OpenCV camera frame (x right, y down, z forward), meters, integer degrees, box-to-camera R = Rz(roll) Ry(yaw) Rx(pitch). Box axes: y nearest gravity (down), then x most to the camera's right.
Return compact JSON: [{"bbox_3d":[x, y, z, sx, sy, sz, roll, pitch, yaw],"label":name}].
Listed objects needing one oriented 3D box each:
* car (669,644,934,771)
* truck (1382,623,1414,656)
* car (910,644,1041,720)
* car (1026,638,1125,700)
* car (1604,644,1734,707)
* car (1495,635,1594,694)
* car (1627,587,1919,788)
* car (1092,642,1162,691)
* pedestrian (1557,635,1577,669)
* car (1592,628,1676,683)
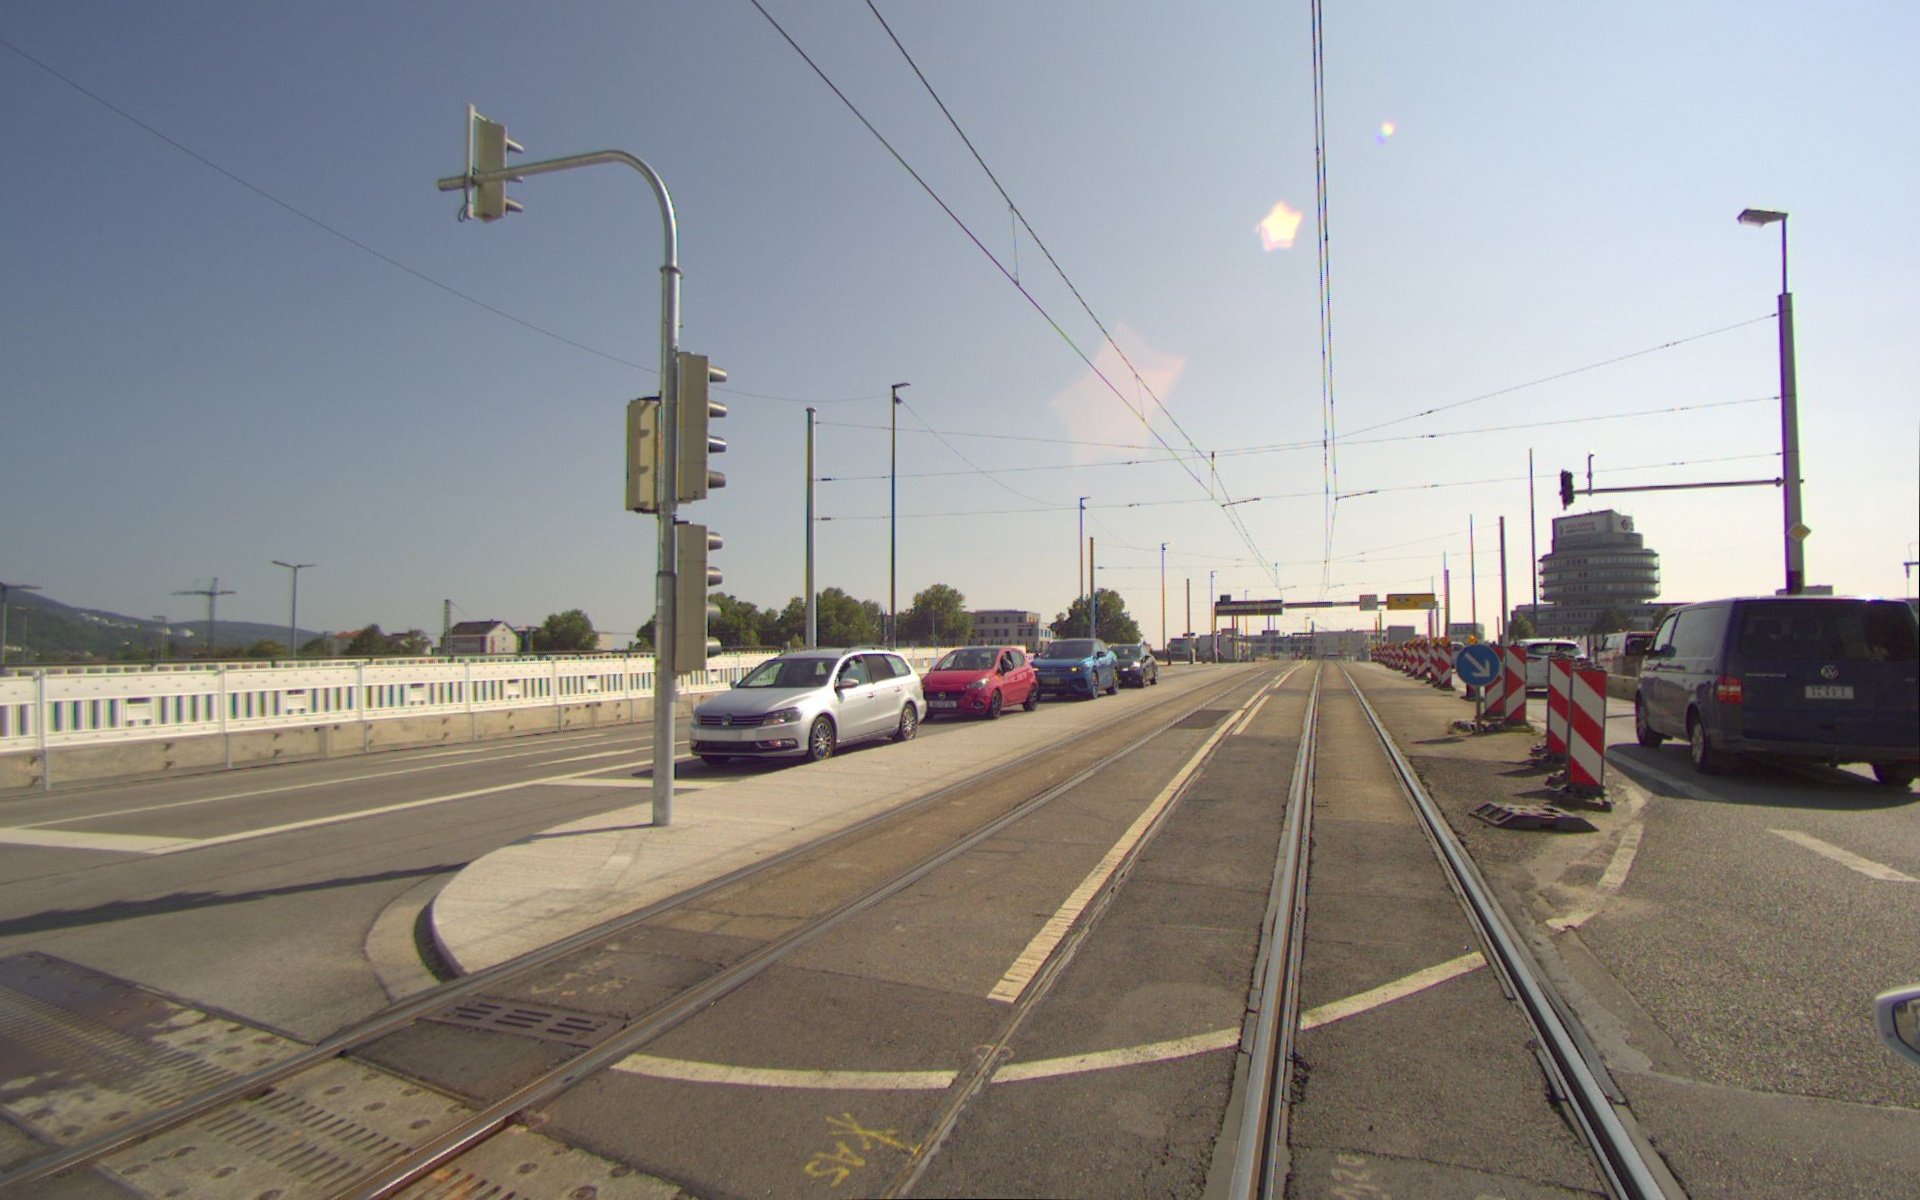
[{"bbox_3d":[-1.978,1.387,14.118,1.611,1.456,4.644,-4,-3,20],"label":"car"},{"bbox_3d":[43.728,3.949,100.465,2.420,3.175,11.215,-2,-2,21],"label":"truck"},{"bbox_3d":[0.438,1.688,21.503,1.509,1.456,3.980,-3,-3,21],"label":"car"},{"bbox_3d":[3.308,1.871,27.941,1.643,1.570,4.556,-3,-3,21],"label":"car"},{"bbox_3d":[16.127,1.663,23.021,1.690,1.267,3.411,-1,-2,22],"label":"car"},{"bbox_3d":[15.239,1.634,26.358,1.689,1.423,3.412,-1,-2,21],"label":"car"},{"bbox_3d":[9.383,0.917,11.832,1.787,1.930,4.053,-1,-2,23],"label":"car"},{"bbox_3d":[5.766,2.230,34.313,1.481,1.520,4.177,-3,-3,21],"label":"car"},{"bbox_3d":[35.345,3.021,58.540,0.769,1.960,0.799,-3,-4,21],"label":"pedestrian"},{"bbox_3d":[26.884,2.198,40.218,1.848,2.060,4.890,0,-3,22],"label":"car"}]
